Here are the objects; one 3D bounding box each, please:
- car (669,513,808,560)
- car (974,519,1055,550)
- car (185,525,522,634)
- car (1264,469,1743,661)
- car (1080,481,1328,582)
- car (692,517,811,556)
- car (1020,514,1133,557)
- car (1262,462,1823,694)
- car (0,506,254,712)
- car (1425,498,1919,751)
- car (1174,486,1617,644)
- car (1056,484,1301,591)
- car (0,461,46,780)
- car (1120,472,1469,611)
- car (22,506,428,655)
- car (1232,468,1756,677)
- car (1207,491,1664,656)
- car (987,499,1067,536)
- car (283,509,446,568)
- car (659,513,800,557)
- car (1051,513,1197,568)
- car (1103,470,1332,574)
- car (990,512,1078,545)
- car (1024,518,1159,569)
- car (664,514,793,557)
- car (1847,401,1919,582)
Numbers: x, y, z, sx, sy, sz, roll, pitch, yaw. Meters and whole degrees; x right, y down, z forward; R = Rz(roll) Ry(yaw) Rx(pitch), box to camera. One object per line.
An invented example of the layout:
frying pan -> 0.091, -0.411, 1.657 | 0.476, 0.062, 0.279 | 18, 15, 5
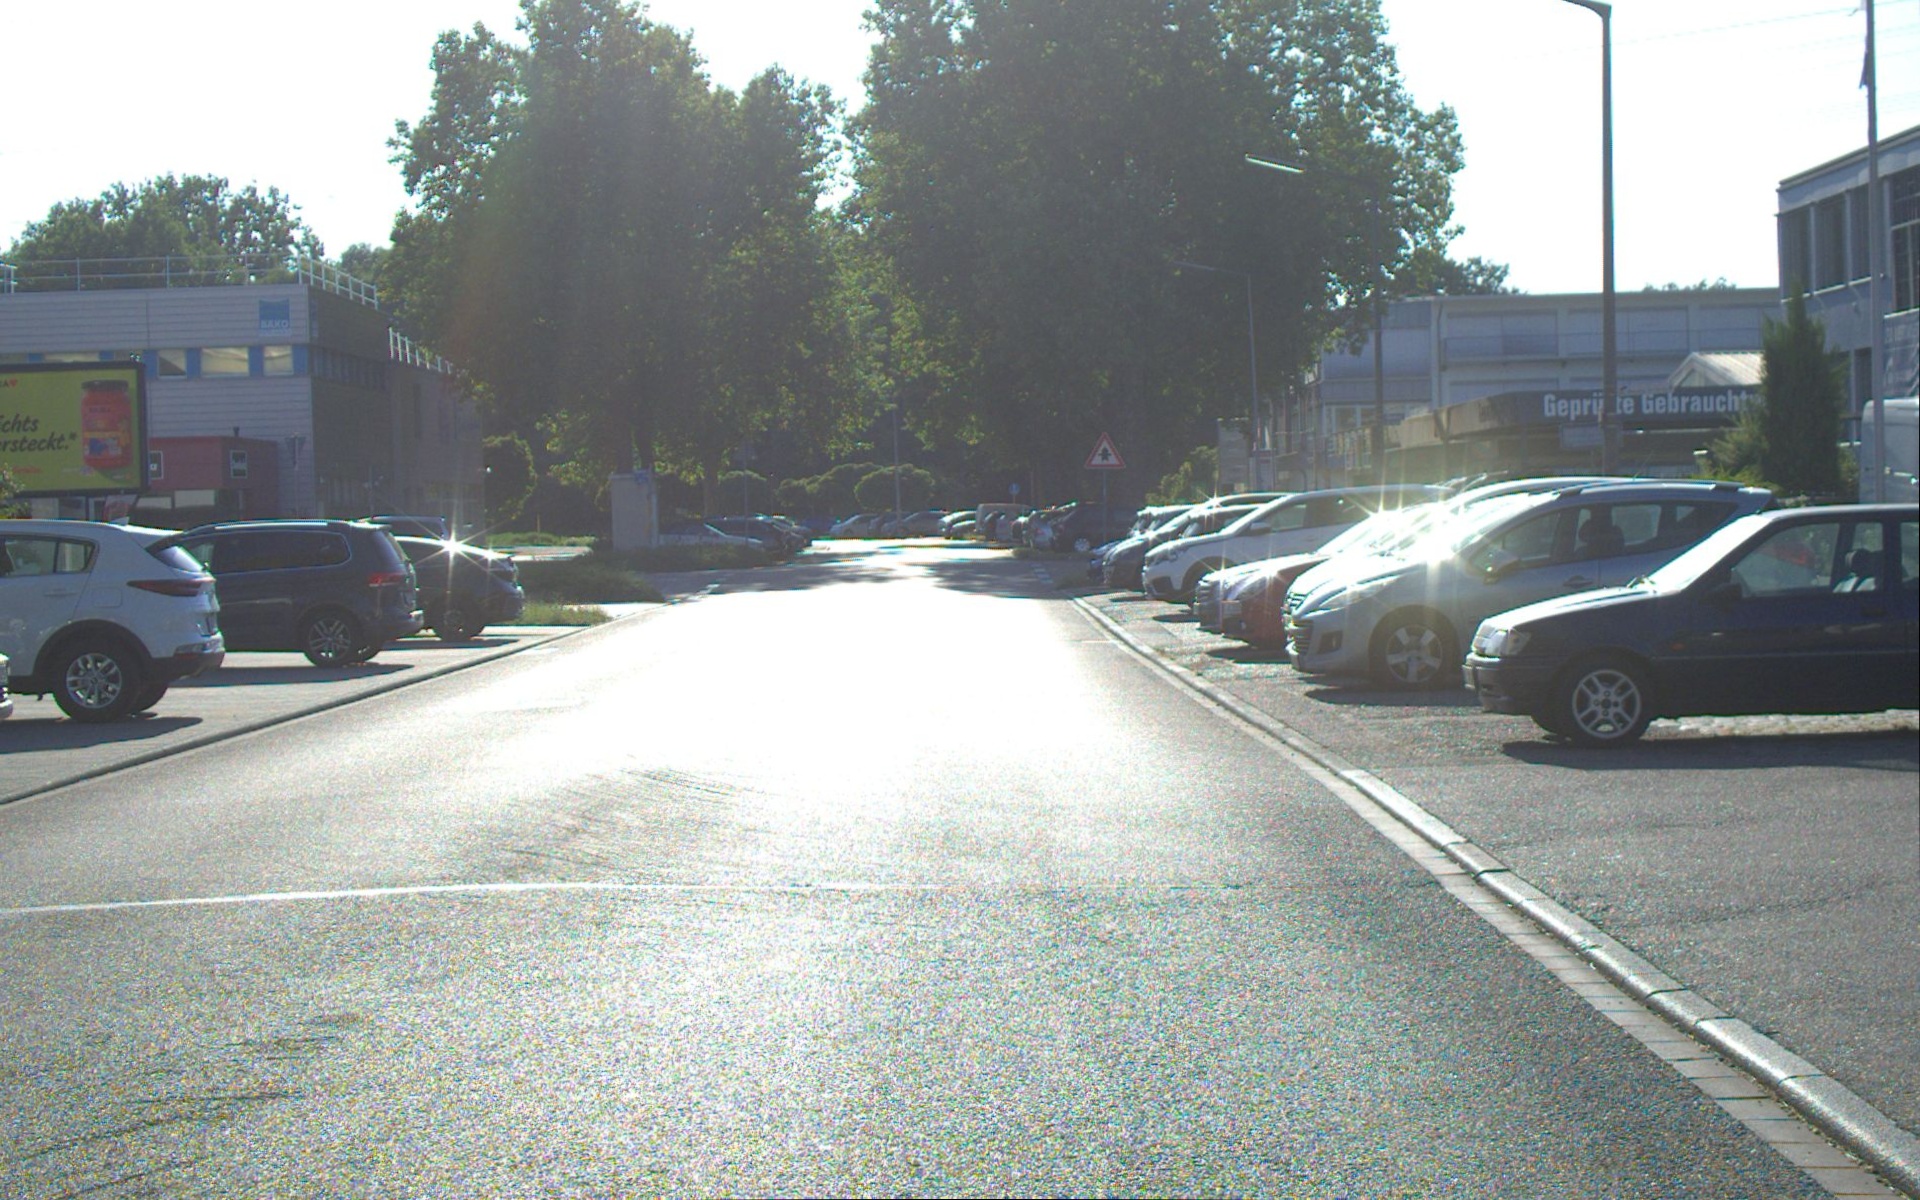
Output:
car -> -7.184, -2.071, 111.773 | 4.415, 1.511, 2.000 | 0, 1, -1
car -> 2.727, -3.299, 172.458 | 3.987, 1.411, 1.827 | -2, 1, 0
car -> -8.277, -0.284, 47.264 | 4.313, 1.455, 2.202 | 0, 1, -3
car -> 5.028, -0.333, 32.167 | 4.108, 1.734, 1.884 | 0, 1, -4
car -> 4.718, -1.325, 66.851 | 4.523, 1.667, 1.754 | -4, 1, -3
car -> -8.024, -2.445, 132.493 | 4.415, 1.511, 2.000 | 0, 1, 2
car -> 4.230, -2.339, 125.051 | 3.987, 1.411, 1.827 | -2, 1, 0
car -> 4.540, -0.183, 27.177 | 3.986, 1.582, 1.868 | -3, 1, -3
car -> -8.217, 0.060, 28.594 | 4.302, 1.650, 2.202 | 0, 1, -3
car -> 4.825, 0.091, 20.088 | 3.987, 1.292, 1.784 | -3, 1, 3
car -> 4.636, -0.387, 37.153 | 4.437, 1.431, 2.135 | -3, 1, 0
car -> 3.757, -1.054, 58.627 | 3.988, 1.608, 1.999 | -3, 0, 7
car -> -8.337, 0.126, 20.379 | 5.259, 1.892, 2.202 | 0, 1, 0
car -> 4.687, -0.823, 48.690 | 4.554, 1.592, 2.202 | -4, 1, -3
car -> -8.325, -0.231, 39.280 | 4.230, 1.650, 2.202 | 0, 1, -3
car -> 4.578, -0.248, 29.892 | 4.108, 1.612, 2.059 | -2, 1, -4
car -> 4.719, -0.271, 34.443 | 4.241, 1.599, 1.746 | 0, 1, -6
car -> 3.399, -4.205, 175.746 | 3.987, 1.770, 1.827 | -2, 1, 0
car -> -17.792, -1.823, 102.693 | 4.628, 1.735, 2.001 | 0, 1, -16
car -> -7.347, -2.057, 109.317 | 4.414, 1.398, 2.000 | 0, 1, -5
car -> 4.606, -1.684, 96.829 | 3.987, 1.411, 2.000 | -2, 1, 0
car -> 4.772, -1.450, 64.029 | 3.987, 1.646, 1.743 | -4, 1, -2
car -> 3.413, -3.301, 159.646 | 3.987, 1.411, 1.827 | -2, 1, 0
car -> 3.976, -1.716, 104.176 | 3.987, 1.411, 1.827 | -2, 1, 0
car -> -8.195, -2.298, 122.039 | 4.415, 1.511, 2.000 | 0, 1, 2
car -> 14.868, -1.583, 50.634 | 1.993, 2.616, 6.137 | 0, 1, 0
